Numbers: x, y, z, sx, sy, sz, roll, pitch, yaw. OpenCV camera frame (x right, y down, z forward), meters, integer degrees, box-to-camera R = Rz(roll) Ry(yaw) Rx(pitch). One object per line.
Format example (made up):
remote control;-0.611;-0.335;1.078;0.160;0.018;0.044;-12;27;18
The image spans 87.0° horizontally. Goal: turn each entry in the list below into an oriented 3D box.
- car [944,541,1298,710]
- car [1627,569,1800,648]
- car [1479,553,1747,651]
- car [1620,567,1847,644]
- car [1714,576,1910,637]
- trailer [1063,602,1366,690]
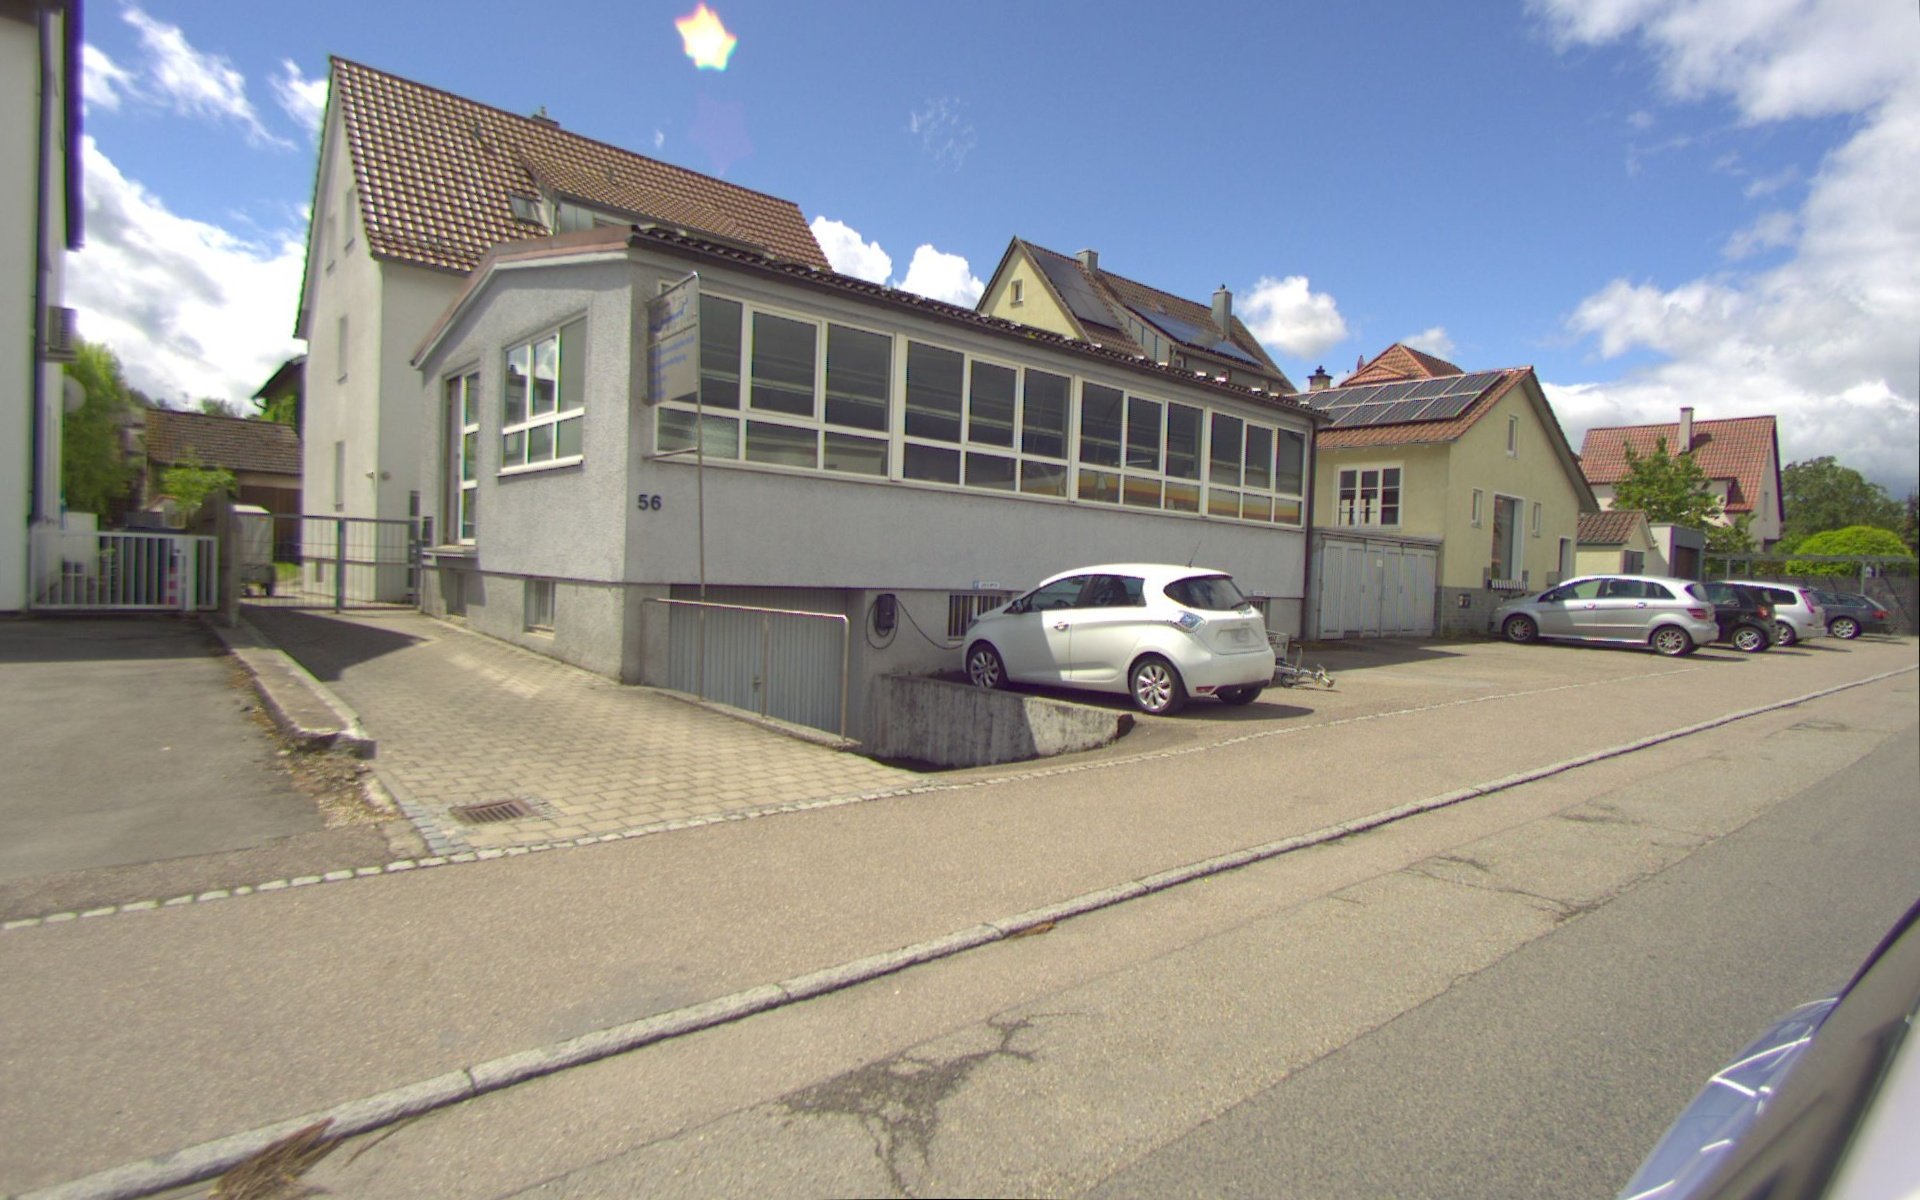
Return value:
car;1.721;0.216;11.800;1.719;1.629;3.906;0;1;-41
car;17.891;0.146;24.082;1.941;1.543;2.894;0;5;-43
car;13.901;-0.039;21.753;1.941;1.627;4.416;0;6;-42
car;20.323;0.068;26.738;1.941;1.543;4.416;0;6;-42
car;26.584;0.139;31.691;1.941;1.423;4.416;0;6;-42
trailer;3.387;0.549;14.012;1.628;0.818;3.824;0;3;-41
